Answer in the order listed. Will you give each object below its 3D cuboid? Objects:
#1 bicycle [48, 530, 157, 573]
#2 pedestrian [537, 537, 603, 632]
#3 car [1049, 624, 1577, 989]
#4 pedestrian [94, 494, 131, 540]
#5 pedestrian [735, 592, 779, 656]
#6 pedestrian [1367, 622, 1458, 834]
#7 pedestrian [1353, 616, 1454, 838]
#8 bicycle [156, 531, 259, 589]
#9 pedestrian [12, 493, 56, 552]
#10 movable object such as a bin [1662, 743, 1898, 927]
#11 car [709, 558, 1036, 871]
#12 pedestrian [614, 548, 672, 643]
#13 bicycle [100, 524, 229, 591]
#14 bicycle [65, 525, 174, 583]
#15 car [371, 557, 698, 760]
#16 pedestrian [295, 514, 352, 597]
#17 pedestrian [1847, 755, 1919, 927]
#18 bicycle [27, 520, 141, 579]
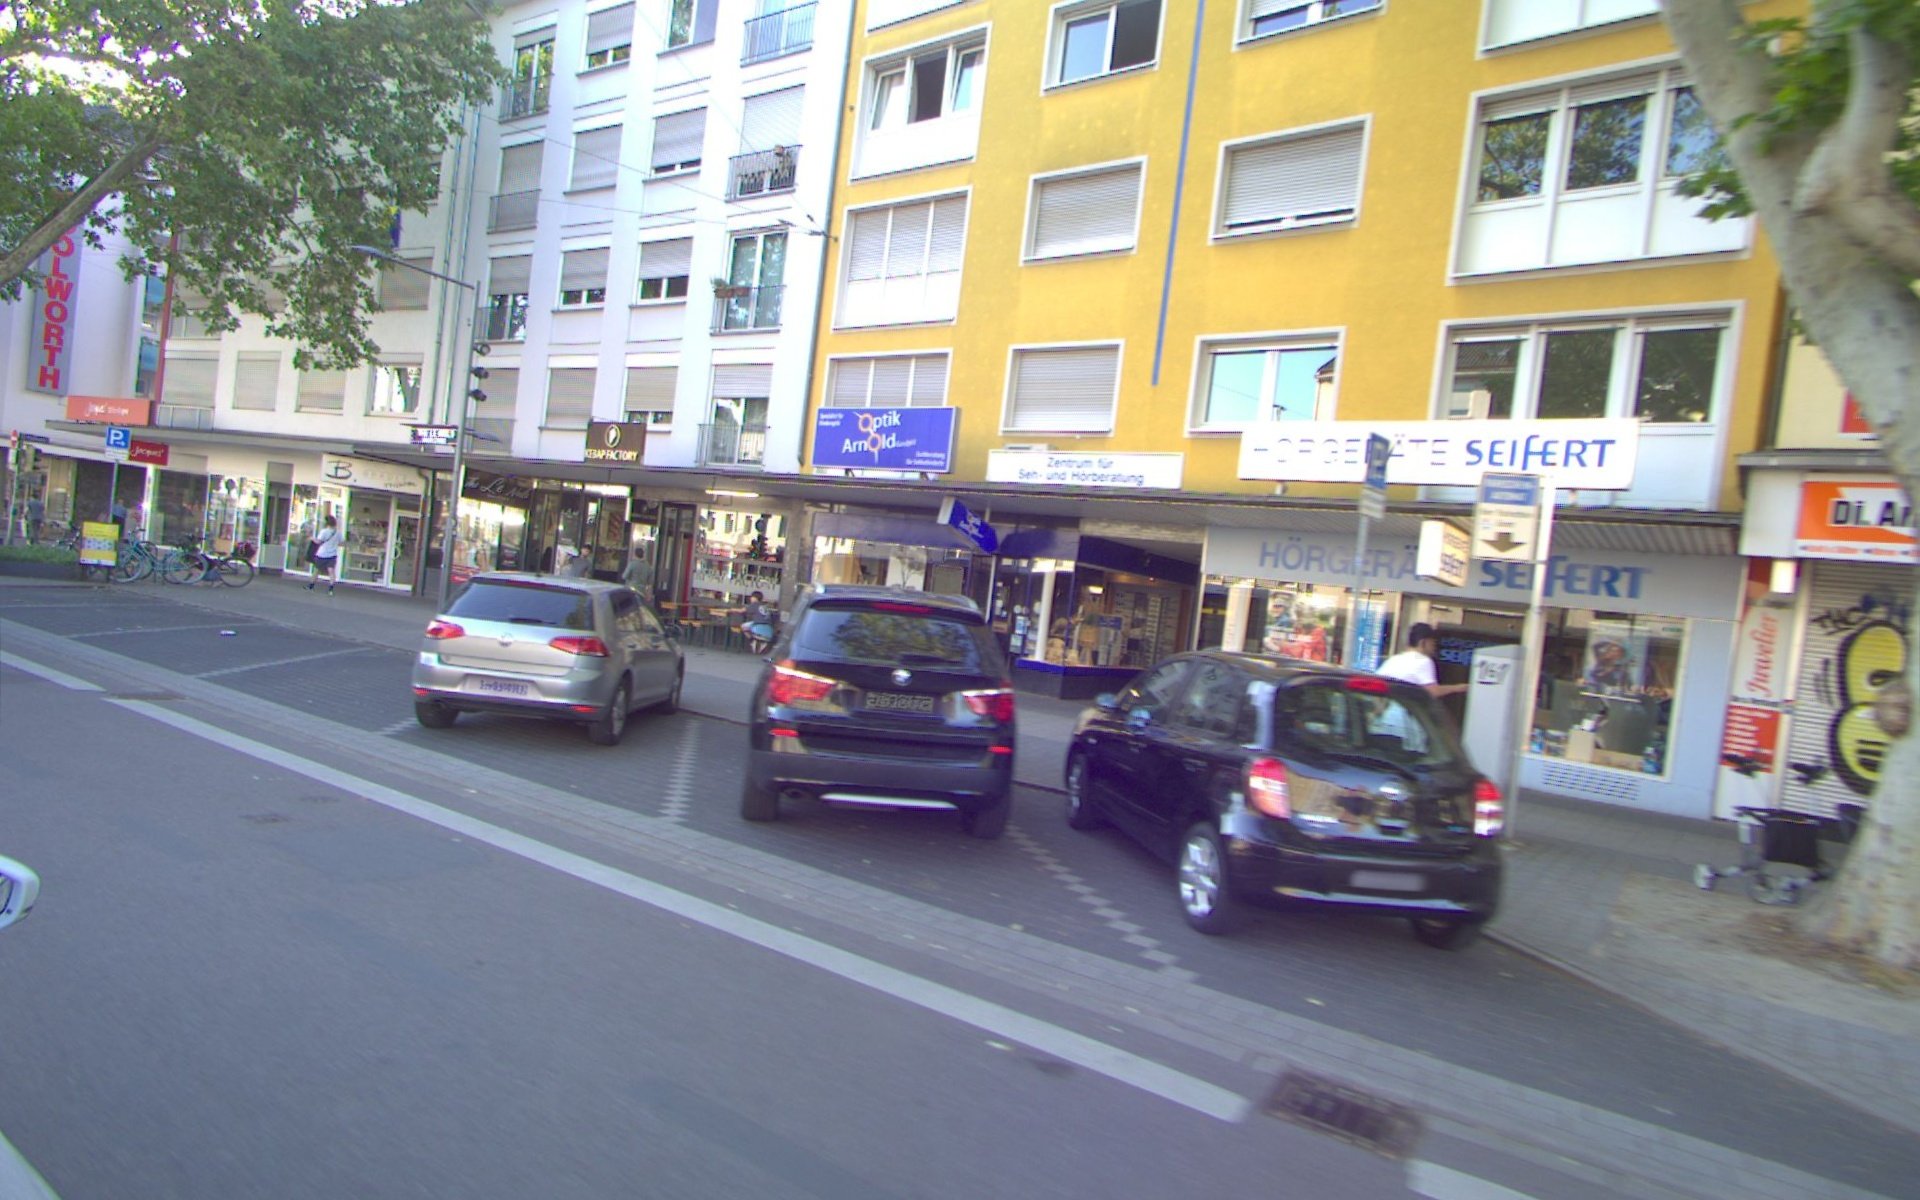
[{"bbox_3d":[-20.701,-1.165,24.312,0.701,0.775,1.874,7,0,40],"label":"bicycle"},{"bbox_3d":[-8.379,-0.327,21.618,0.897,1.900,0.737,7,1,24],"label":"pedestrian"},{"bbox_3d":[1.926,1.083,6.732,1.712,1.559,3.603,6,0,-8],"label":"car"},{"bbox_3d":[-34.521,-3.387,40.980,0.820,1.700,0.749,9,2,26],"label":"pedestrian"},{"bbox_3d":[-3.939,0.467,19.556,0.615,1.171,0.418,7,1,35],"label":"pedestrian"},{"bbox_3d":[4.165,1.153,9.298,0.466,1.855,0.517,6,1,10],"label":"pedestrian"},{"bbox_3d":[3.902,1.091,8.875,0.466,1.855,0.517,6,1,2],"label":"pedestrian"},{"bbox_3d":[-17.591,-0.932,23.547,0.668,1.169,1.761,7,2,40],"label":"bicycle"},{"bbox_3d":[-30.474,-2.555,33.095,0.751,1.816,0.781,7,1,32],"label":"pedestrian"},{"bbox_3d":[5.827,1.641,7.214,0.824,1.035,0.930,7,-1,0],"label":"movable object such as a bin"},{"bbox_3d":[-0.800,0.687,8.037,1.778,1.702,4.145,6,0,-8],"label":"car"},{"bbox_3d":[-6.382,-0.093,20.264,0.776,1.816,0.705,7,4,37],"label":"pedestrian"},{"bbox_3d":[-17.778,-0.926,22.531,0.818,1.248,2.079,7,1,36],"label":"bicycle"},{"bbox_3d":[-19.177,-1.029,22.994,0.660,1.205,1.788,6,2,23],"label":"bicycle"},{"bbox_3d":[-3.985,0.481,10.251,1.777,1.469,4.173,6,0,-6],"label":"car"},{"bbox_3d":[-15.375,-1.063,24.302,0.809,1.900,0.645,6,1,18],"label":"pedestrian"},{"bbox_3d":[6.899,1.729,7.125,0.738,1.128,0.584,7,-1,32],"label":"pedestrian"},{"bbox_3d":[-20.123,-1.145,23.131,0.701,1.205,1.872,7,3,40],"label":"bicycle"}]
